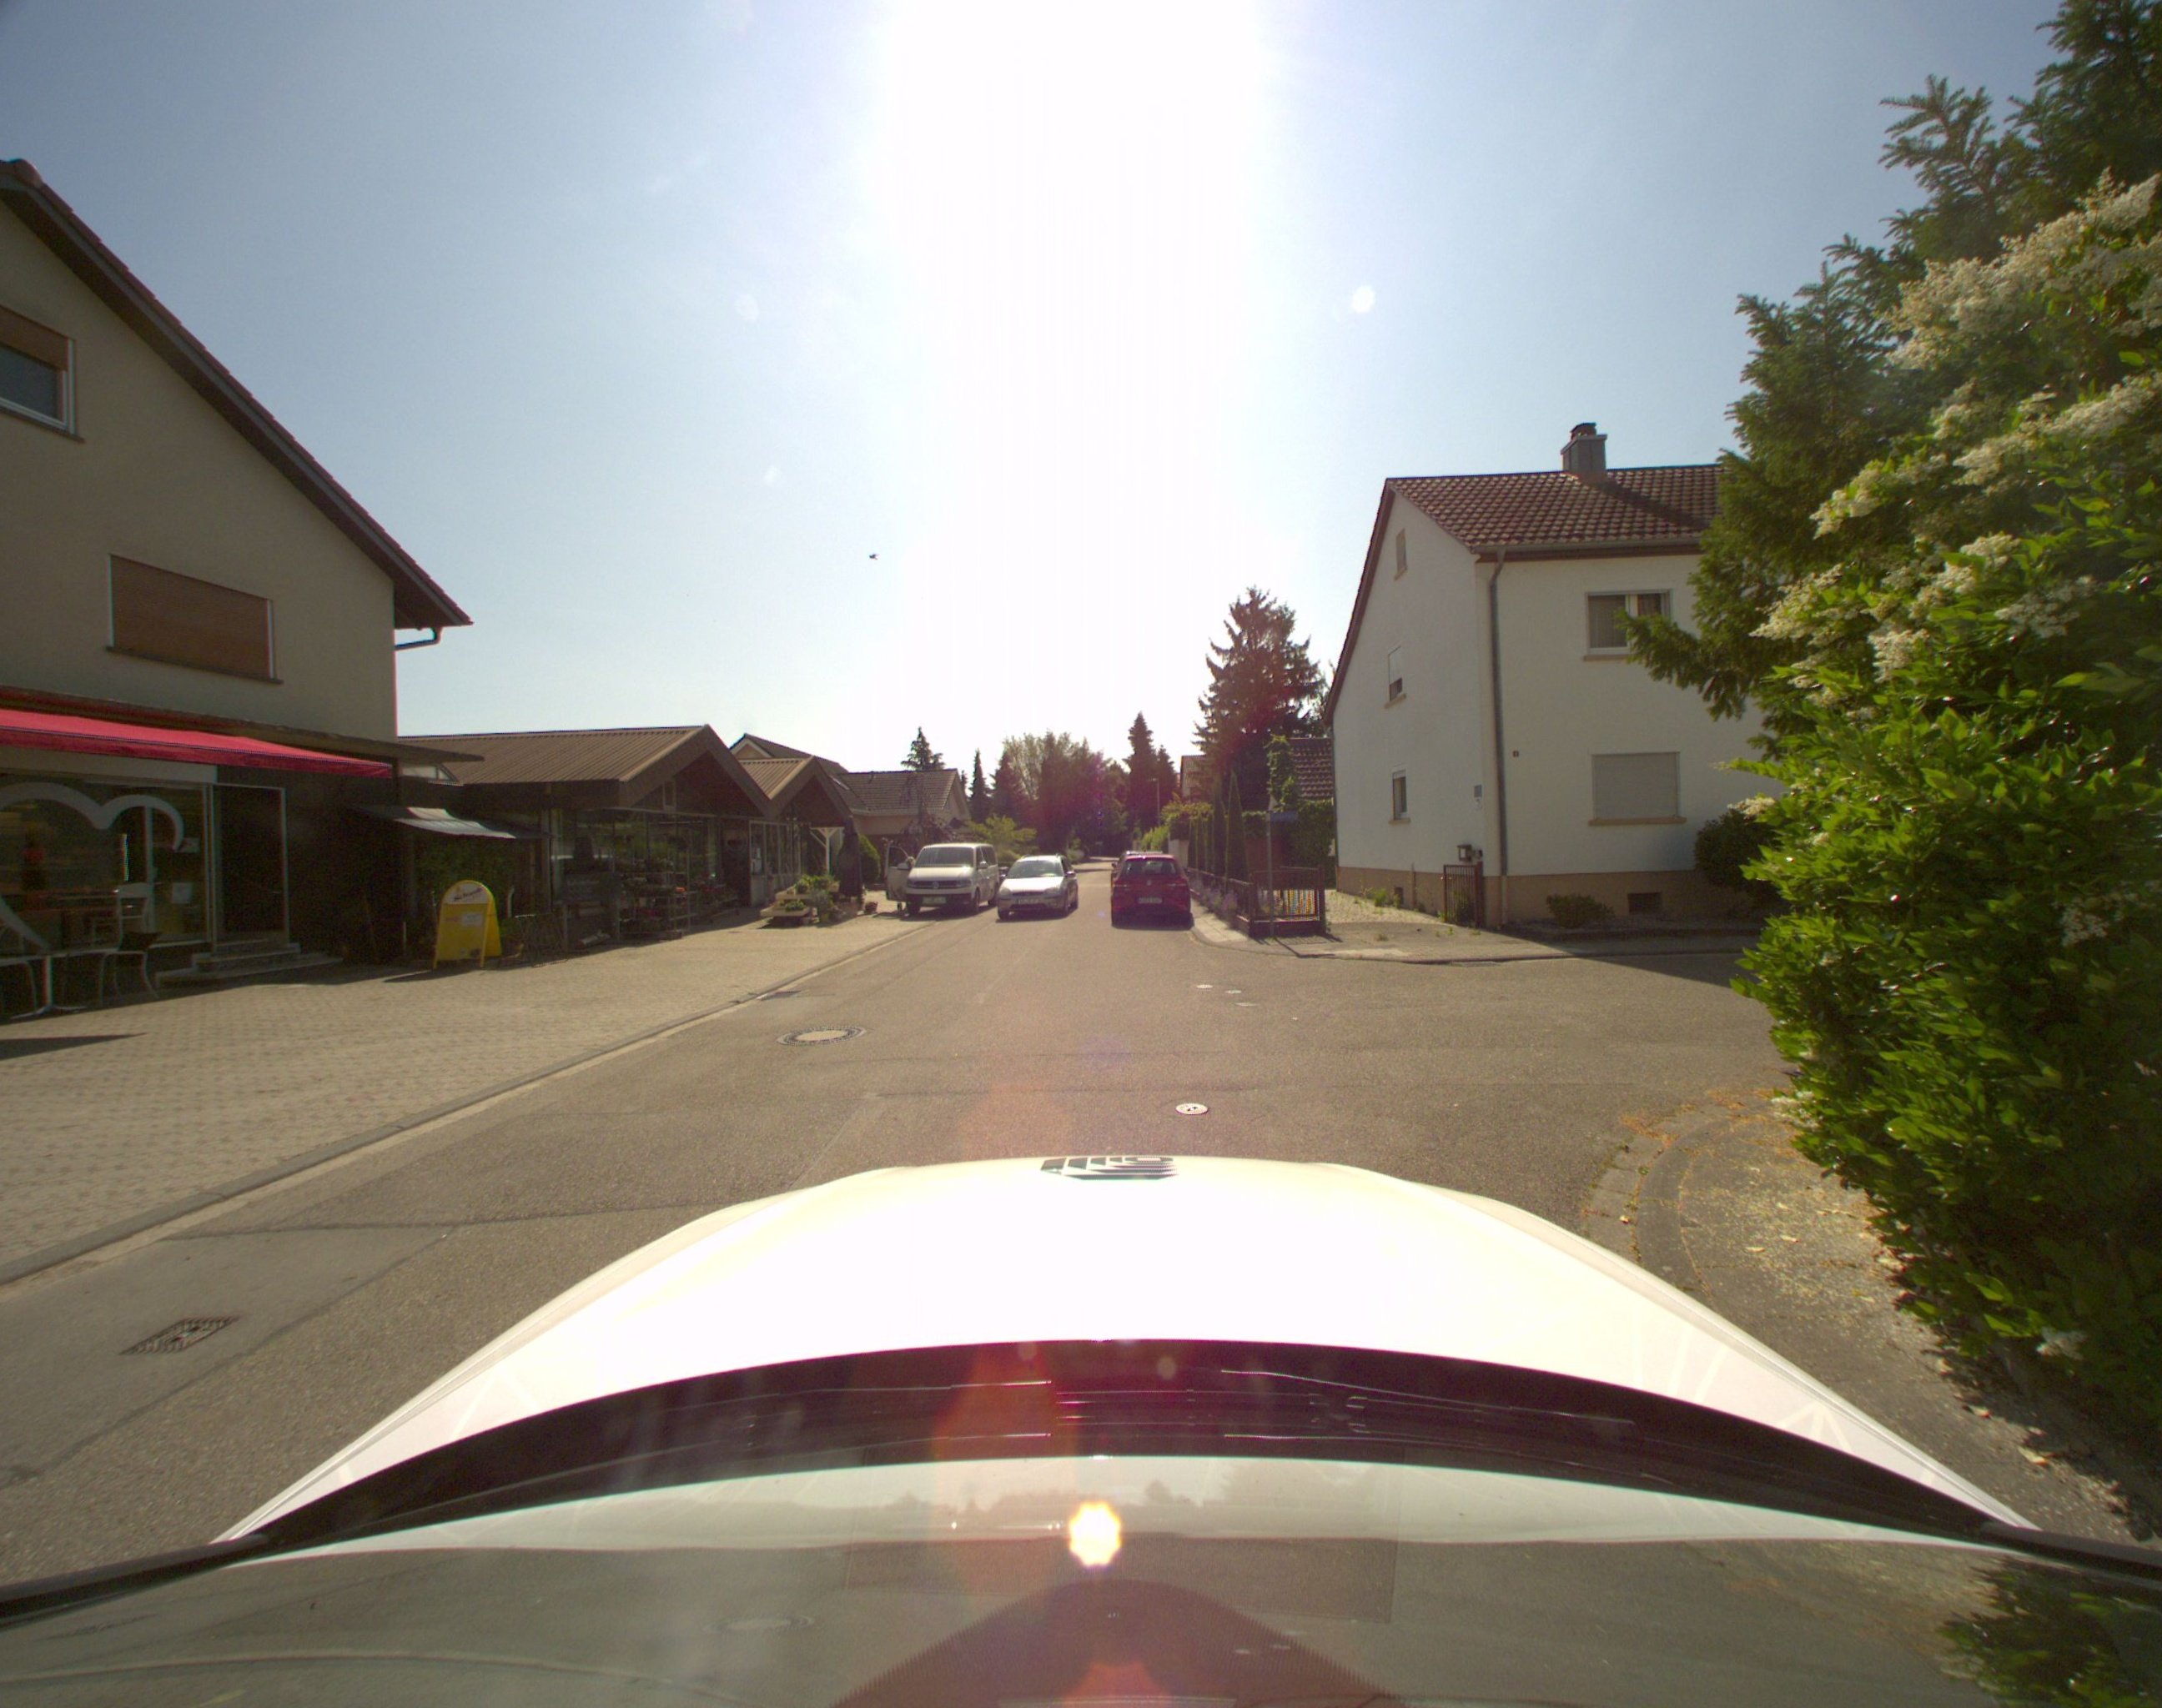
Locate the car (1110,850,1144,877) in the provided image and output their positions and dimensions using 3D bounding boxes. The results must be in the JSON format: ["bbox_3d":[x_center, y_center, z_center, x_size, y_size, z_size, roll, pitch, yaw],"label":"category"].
[{"bbox_3d":[2.482,0.478,44.585,1.696,1.399,4.001,-1,0,1],"label":"car"}]

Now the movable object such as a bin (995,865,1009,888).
[{"bbox_3d":[-3.564,1.008,36.767,0.492,1.024,0.448,-2,0,2],"label":"movable object such as a bin"}]

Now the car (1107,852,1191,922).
[{"bbox_3d":[1.641,0.686,19.141,1.766,1.479,4.007,0,0,6],"label":"car"}]

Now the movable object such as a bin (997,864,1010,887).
[{"bbox_3d":[-3.536,0.999,37.253,0.492,1.024,0.448,-2,0,2],"label":"movable object such as a bin"}]

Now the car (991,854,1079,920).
[{"bbox_3d":[-1.087,0.780,21.376,1.745,1.487,4.379,-2,0,3],"label":"car"}]

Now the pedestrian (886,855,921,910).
[{"bbox_3d":[-5.123,0.803,23.504,0.710,1.538,0.646,-1,1,36],"label":"pedestrian"}]

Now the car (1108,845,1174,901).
[{"bbox_3d":[1.828,0.562,25.904,1.816,1.615,3.999,-1,0,0],"label":"car"}]

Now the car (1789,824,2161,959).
[{"bbox_3d":[11.988,0.429,10.581,3.971,1.530,1.798,-2,0,1],"label":"car"}]

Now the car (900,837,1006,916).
[{"bbox_3d":[-3.555,0.583,23.637,1.920,2.013,4.901,-2,0,4],"label":"car"}]
